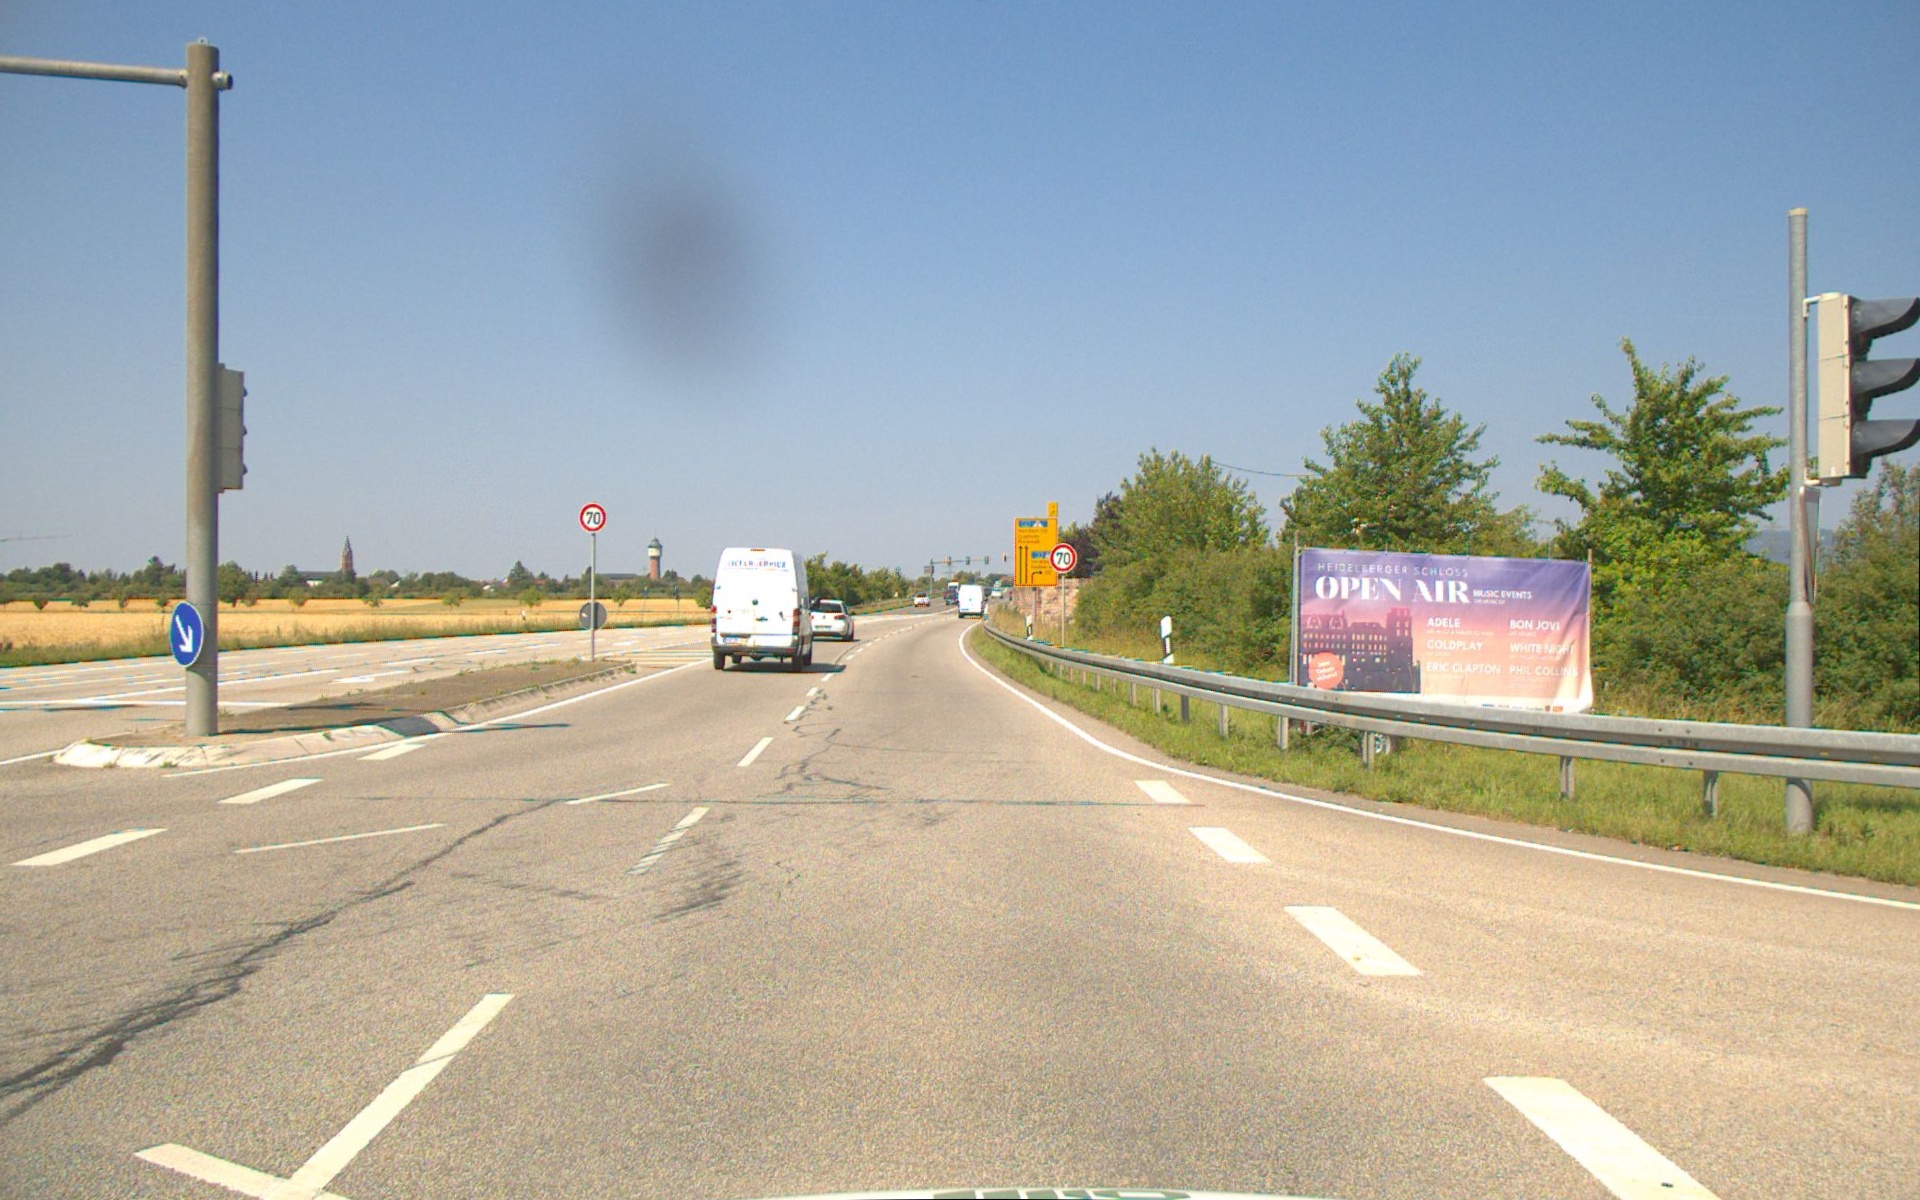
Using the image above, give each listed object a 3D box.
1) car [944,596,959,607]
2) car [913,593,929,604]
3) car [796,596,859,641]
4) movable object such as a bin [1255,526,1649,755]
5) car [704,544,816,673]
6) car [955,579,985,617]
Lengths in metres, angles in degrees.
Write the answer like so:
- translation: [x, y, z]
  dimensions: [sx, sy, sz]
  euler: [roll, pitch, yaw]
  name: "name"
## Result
- translation: [-1.128, 0.186, 216.568]
  dimensions: [1.712, 1.467, 4.083]
  euler: [0, 0, 3]
  name: "car"
- translation: [-4.954, -0.183, 209.956]
  dimensions: [1.712, 1.467, 4.083]
  euler: [0, 0, 3]
  name: "car"
- translation: [-4.863, 0.653, 61.180]
  dimensions: [1.762, 1.534, 4.198]
  euler: [1, 1, 3]
  name: "car"
- translation: [5.473, 0.456, 18.574]
  dimensions: [4.014, 2.372, 1.276]
  euler: [2, -1, -5]
  name: "movable object such as a bin"
- translation: [-4.502, 0.172, 38.080]
  dimensions: [1.998, 2.665, 5.738]
  euler: [2, 0, -2]
  name: "car"
- translation: [0.799, -0.121, 128.672]
  dimensions: [1.952, 2.742, 4.971]
  euler: [2, -1, 3]
  name: "car"
